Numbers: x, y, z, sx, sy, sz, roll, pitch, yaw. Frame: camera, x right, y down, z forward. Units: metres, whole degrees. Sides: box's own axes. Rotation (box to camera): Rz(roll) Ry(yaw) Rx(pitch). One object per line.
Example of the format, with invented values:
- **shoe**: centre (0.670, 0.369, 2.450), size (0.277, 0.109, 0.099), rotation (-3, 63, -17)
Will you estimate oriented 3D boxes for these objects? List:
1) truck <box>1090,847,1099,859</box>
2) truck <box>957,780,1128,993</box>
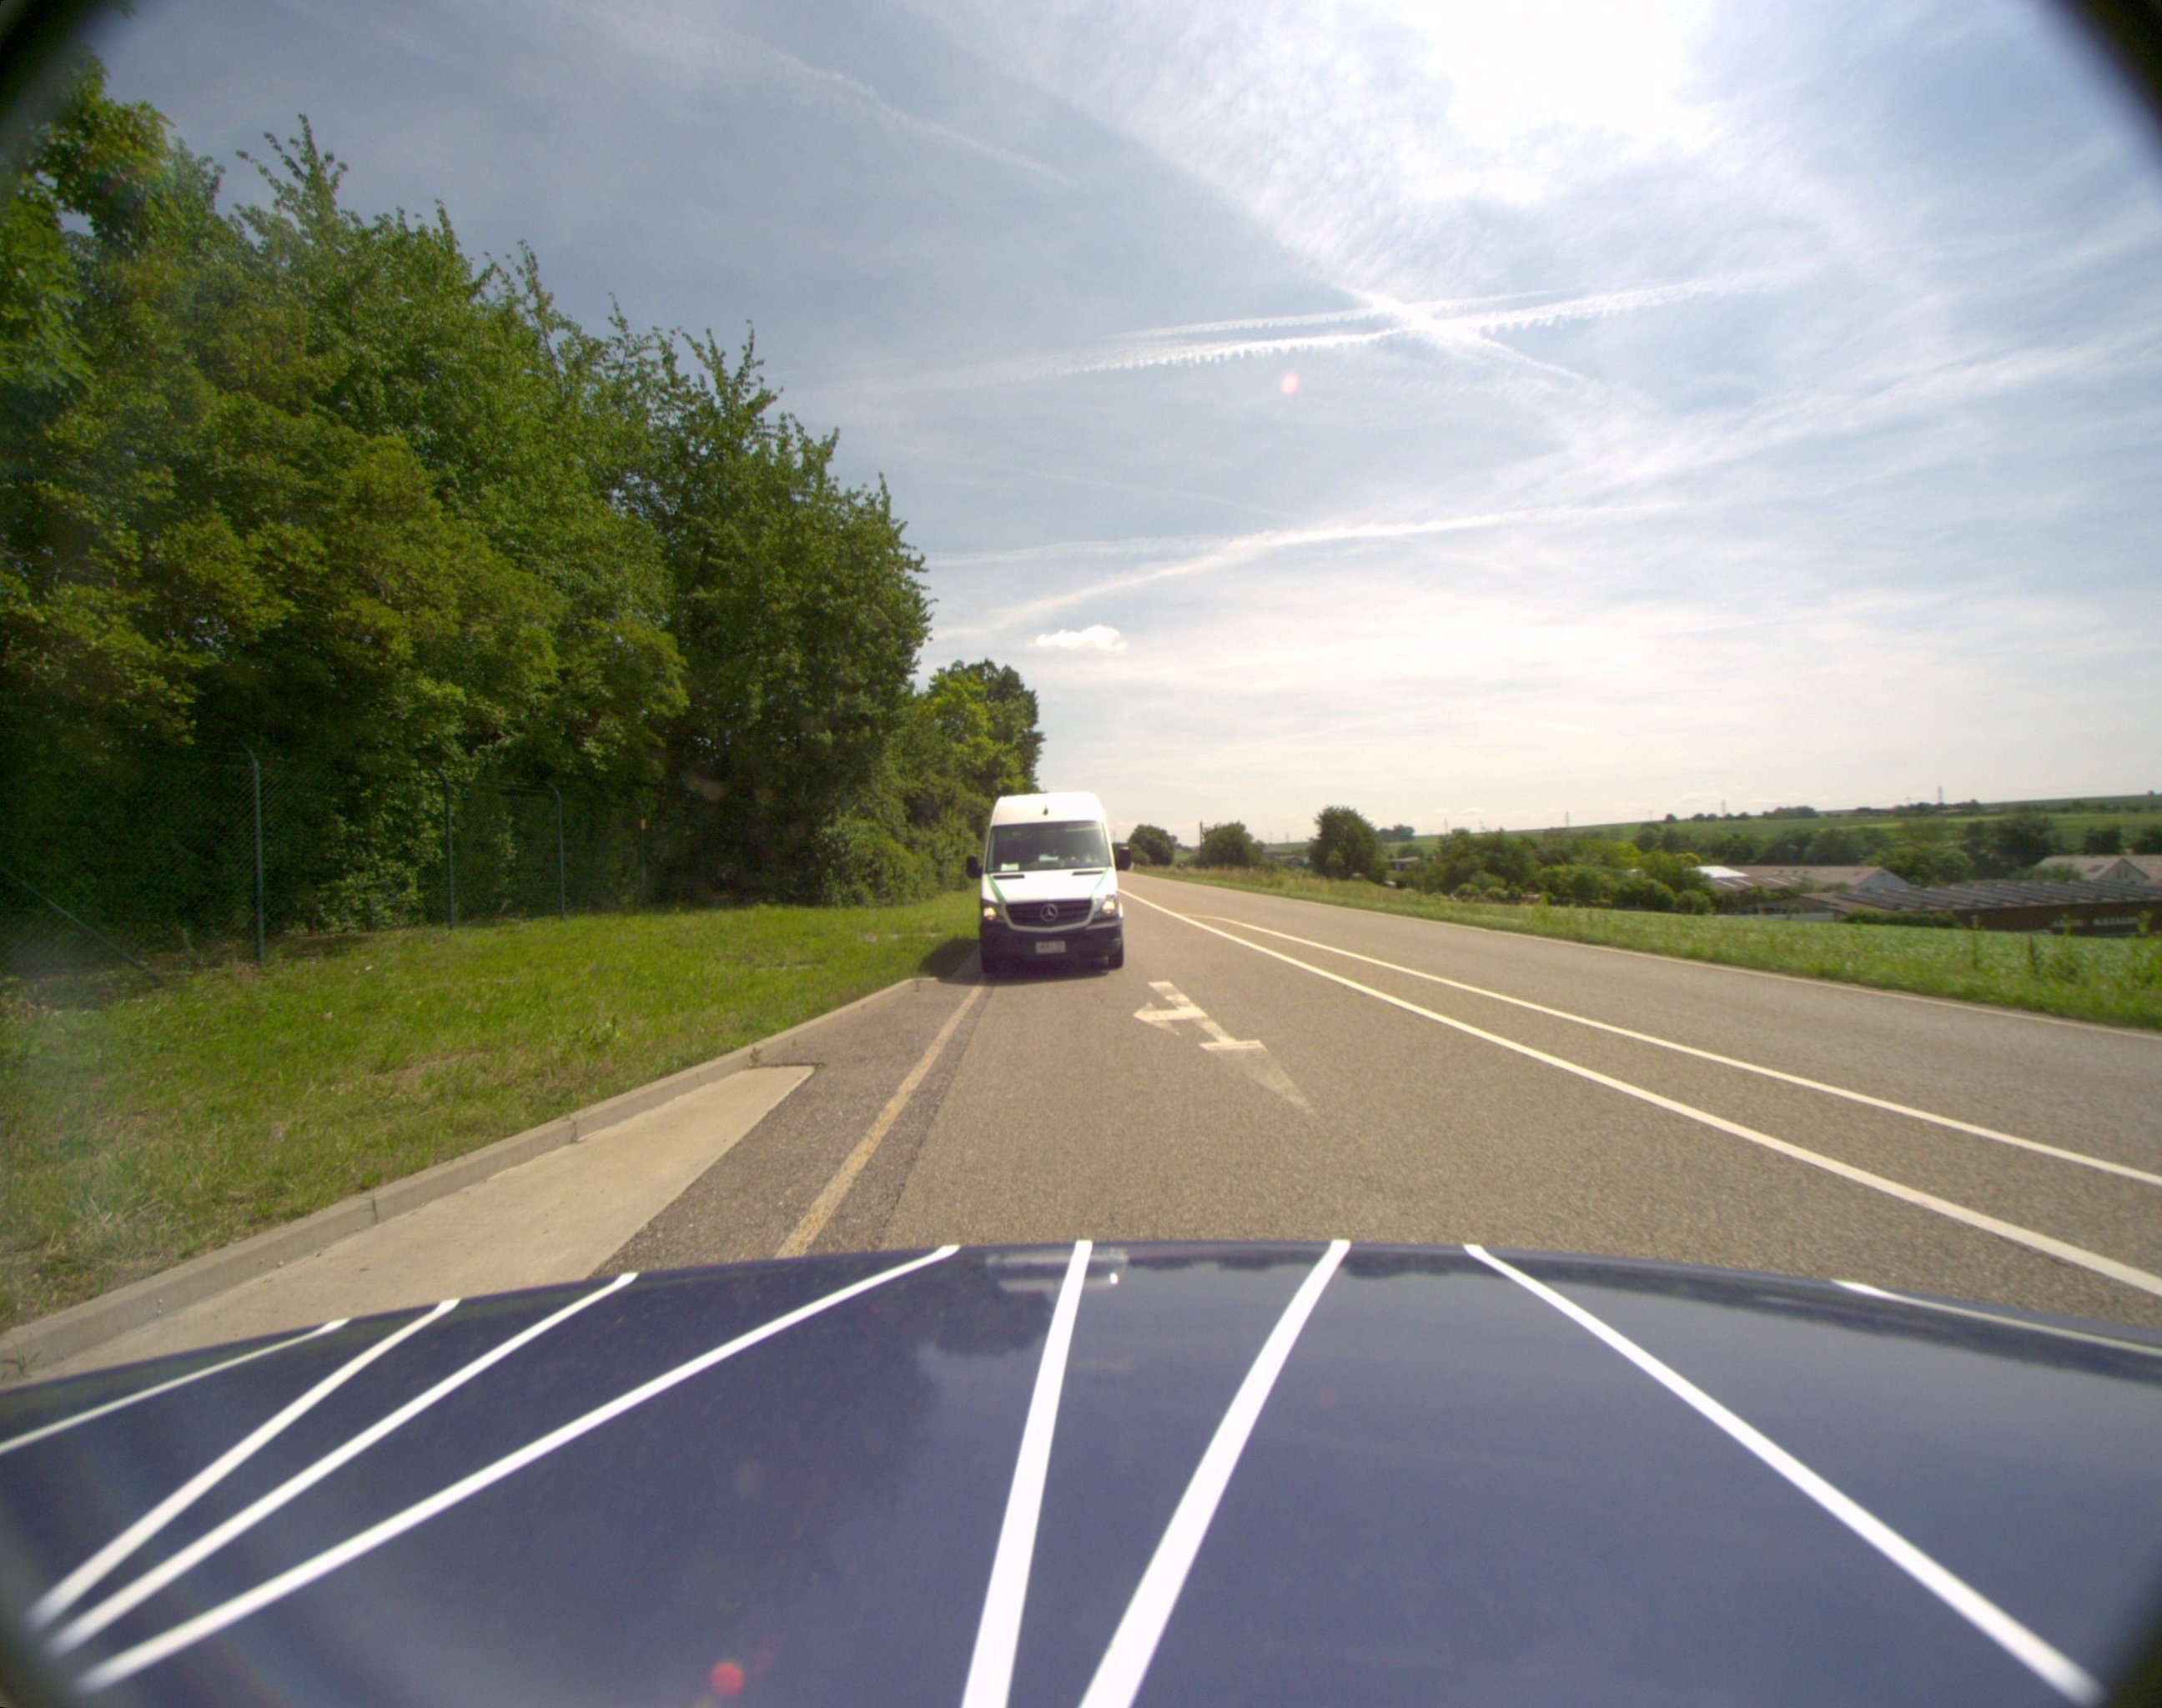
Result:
- **truck**: centre (4.151, -0.201, 231.889), size (2.763, 3.555, 11.067), rotation (0, 0, 2)
- **truck**: centre (-0.420, 0.401, 13.110), size (2.023, 2.567, 7.225), rotation (-3, 0, 1)
